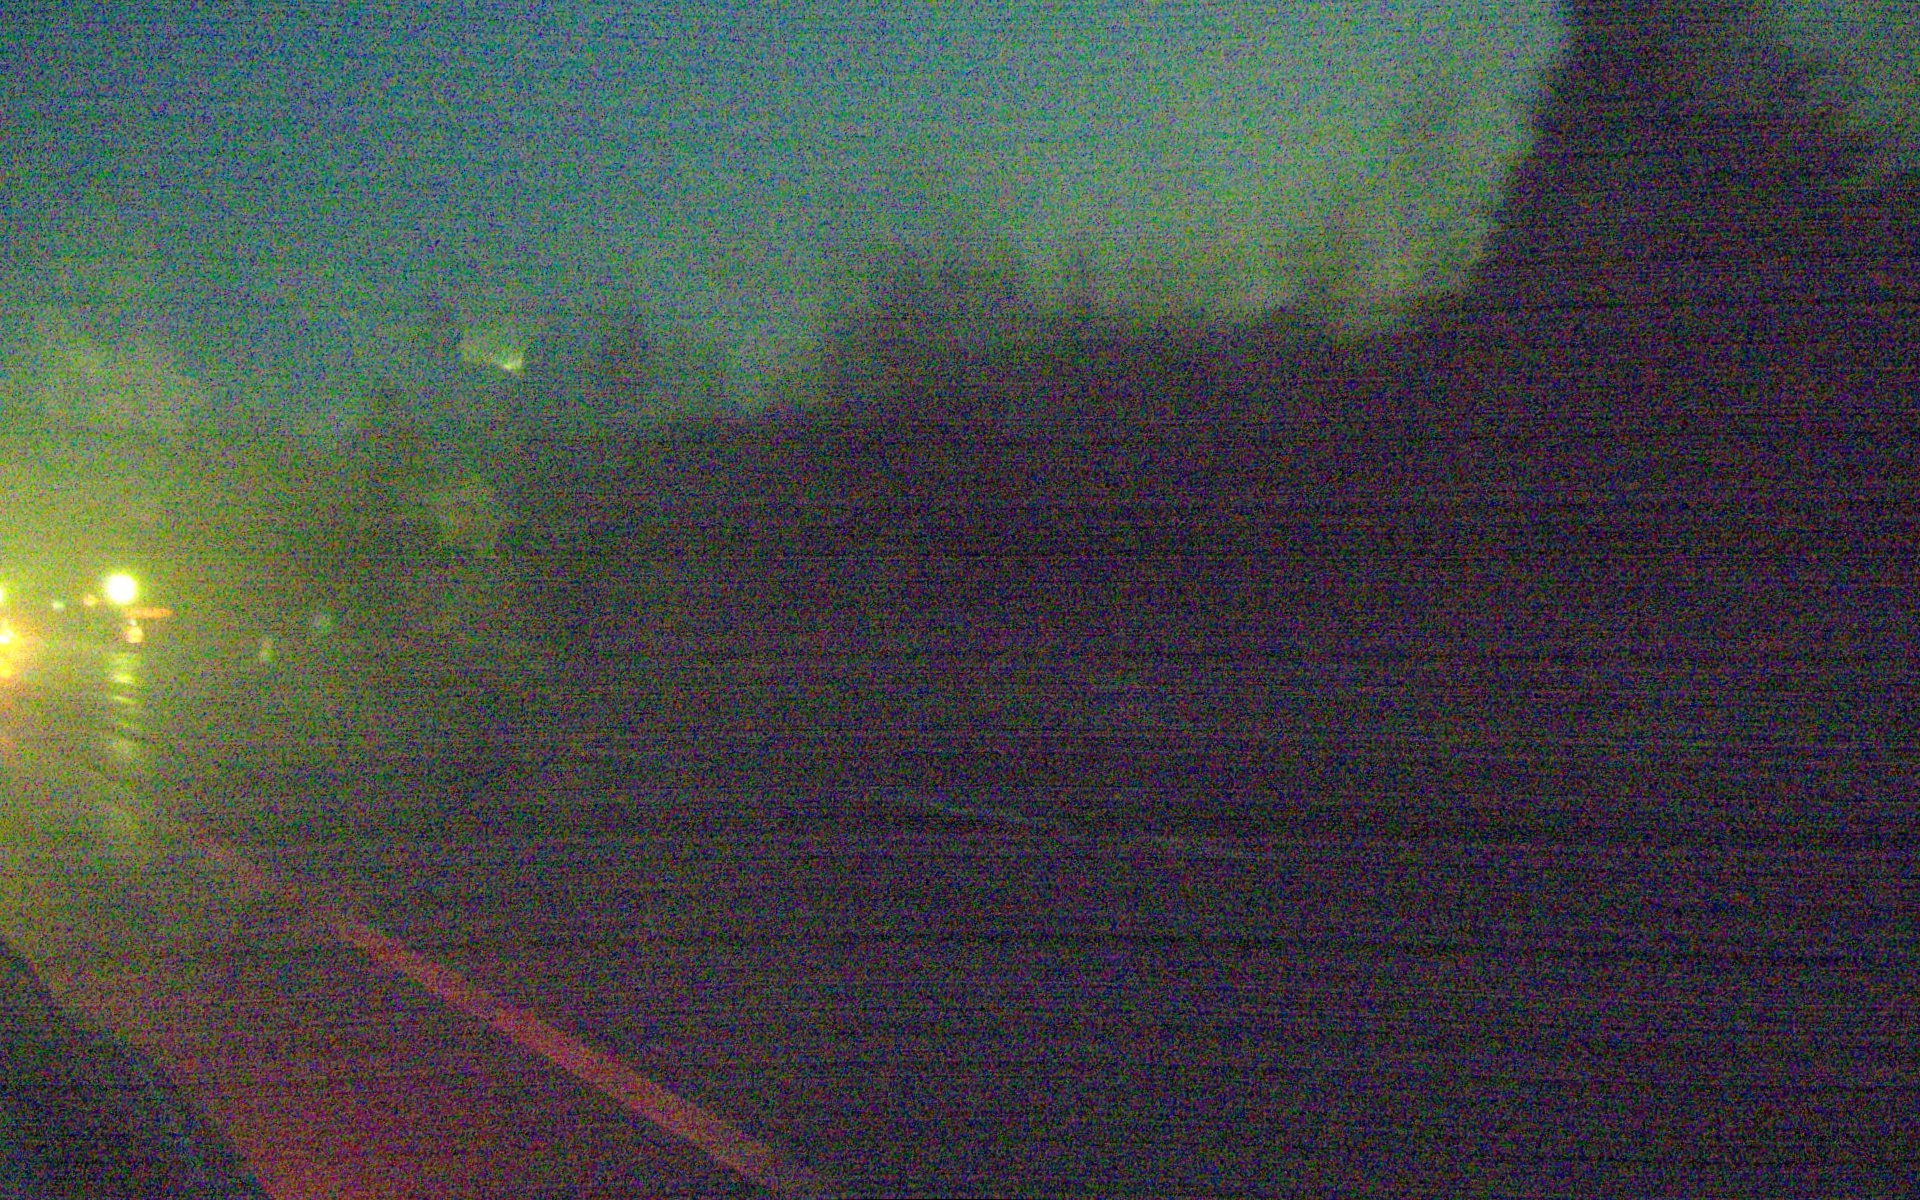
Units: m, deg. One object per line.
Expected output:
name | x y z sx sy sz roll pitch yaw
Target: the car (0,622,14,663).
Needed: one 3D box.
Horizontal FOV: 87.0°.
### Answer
car | -39.385 1.695 40.342 4.658 1.588 1.973 -1 0 41
